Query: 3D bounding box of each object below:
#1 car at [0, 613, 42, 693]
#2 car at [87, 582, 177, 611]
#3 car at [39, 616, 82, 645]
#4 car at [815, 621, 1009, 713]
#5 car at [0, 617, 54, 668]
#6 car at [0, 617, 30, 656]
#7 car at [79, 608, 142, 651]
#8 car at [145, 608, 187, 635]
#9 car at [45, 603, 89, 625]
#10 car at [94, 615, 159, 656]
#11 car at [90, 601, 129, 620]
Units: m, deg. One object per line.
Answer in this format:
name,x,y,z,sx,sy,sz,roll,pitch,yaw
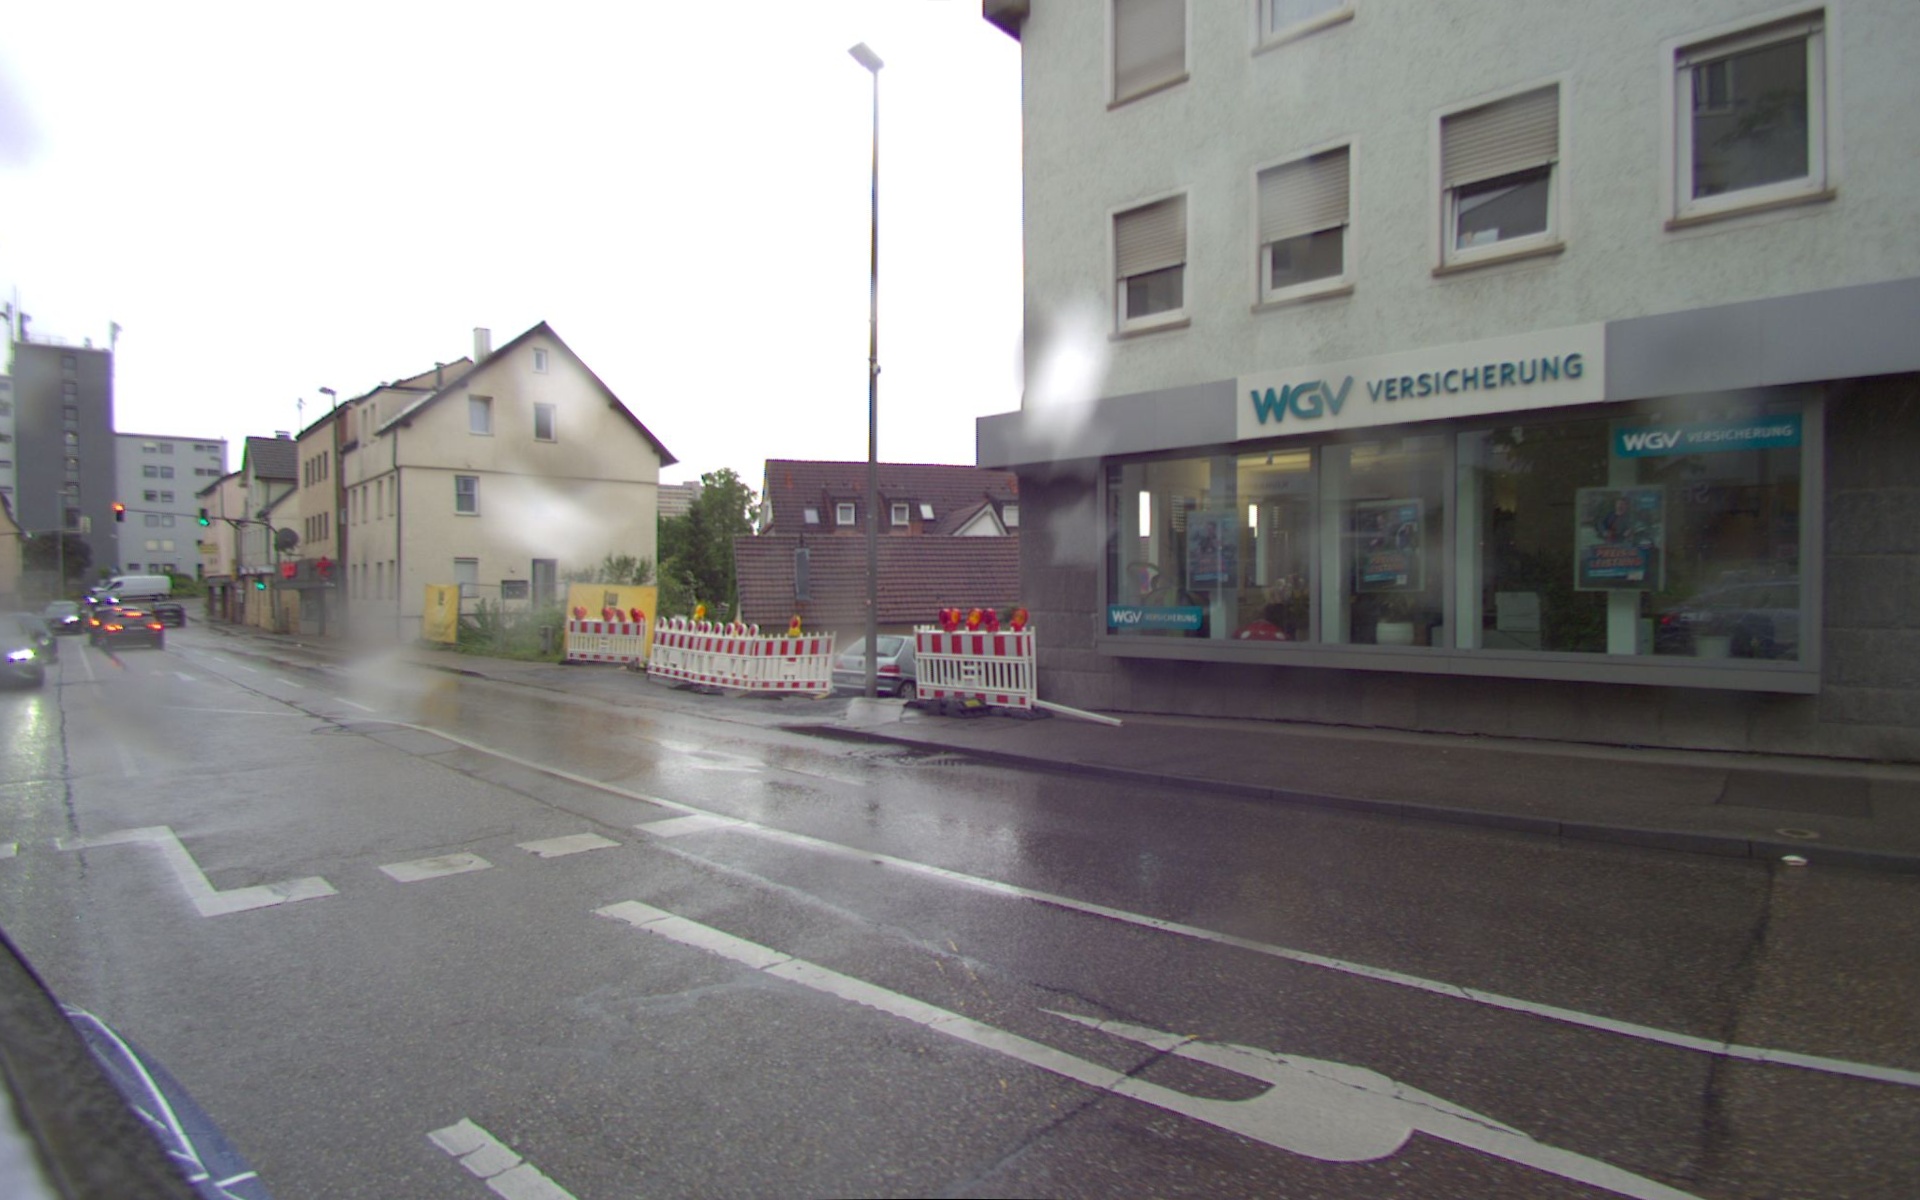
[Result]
car,-20.751,1.108,21.470,1.794,1.583,4.279,-2,0,-43
car,-81.793,-0.394,100.045,2.670,2.539,6.347,-2,1,35
car,-49.552,1.666,55.787,1.661,1.472,4.006,-1,0,-40
car,-0.795,1.292,18.631,1.649,1.401,3.465,-3,-9,38
car,-28.202,1.248,30.281,1.618,1.443,3.810,1,-1,-42
car,-37.231,1.417,39.190,1.663,1.432,4.002,-1,0,-45
car,-35.895,1.232,42.739,1.794,1.657,4.280,-2,0,-43
car,-49.569,1.323,63.167,1.793,1.583,4.281,0,-1,-42
car,-62.163,0.961,70.524,1.659,1.472,4.011,-1,0,-33
car,-31.384,1.298,38.081,1.687,1.393,3.673,-1,0,-43
car,-73.278,0.875,87.269,1.524,1.545,3.701,-2,1,-23
